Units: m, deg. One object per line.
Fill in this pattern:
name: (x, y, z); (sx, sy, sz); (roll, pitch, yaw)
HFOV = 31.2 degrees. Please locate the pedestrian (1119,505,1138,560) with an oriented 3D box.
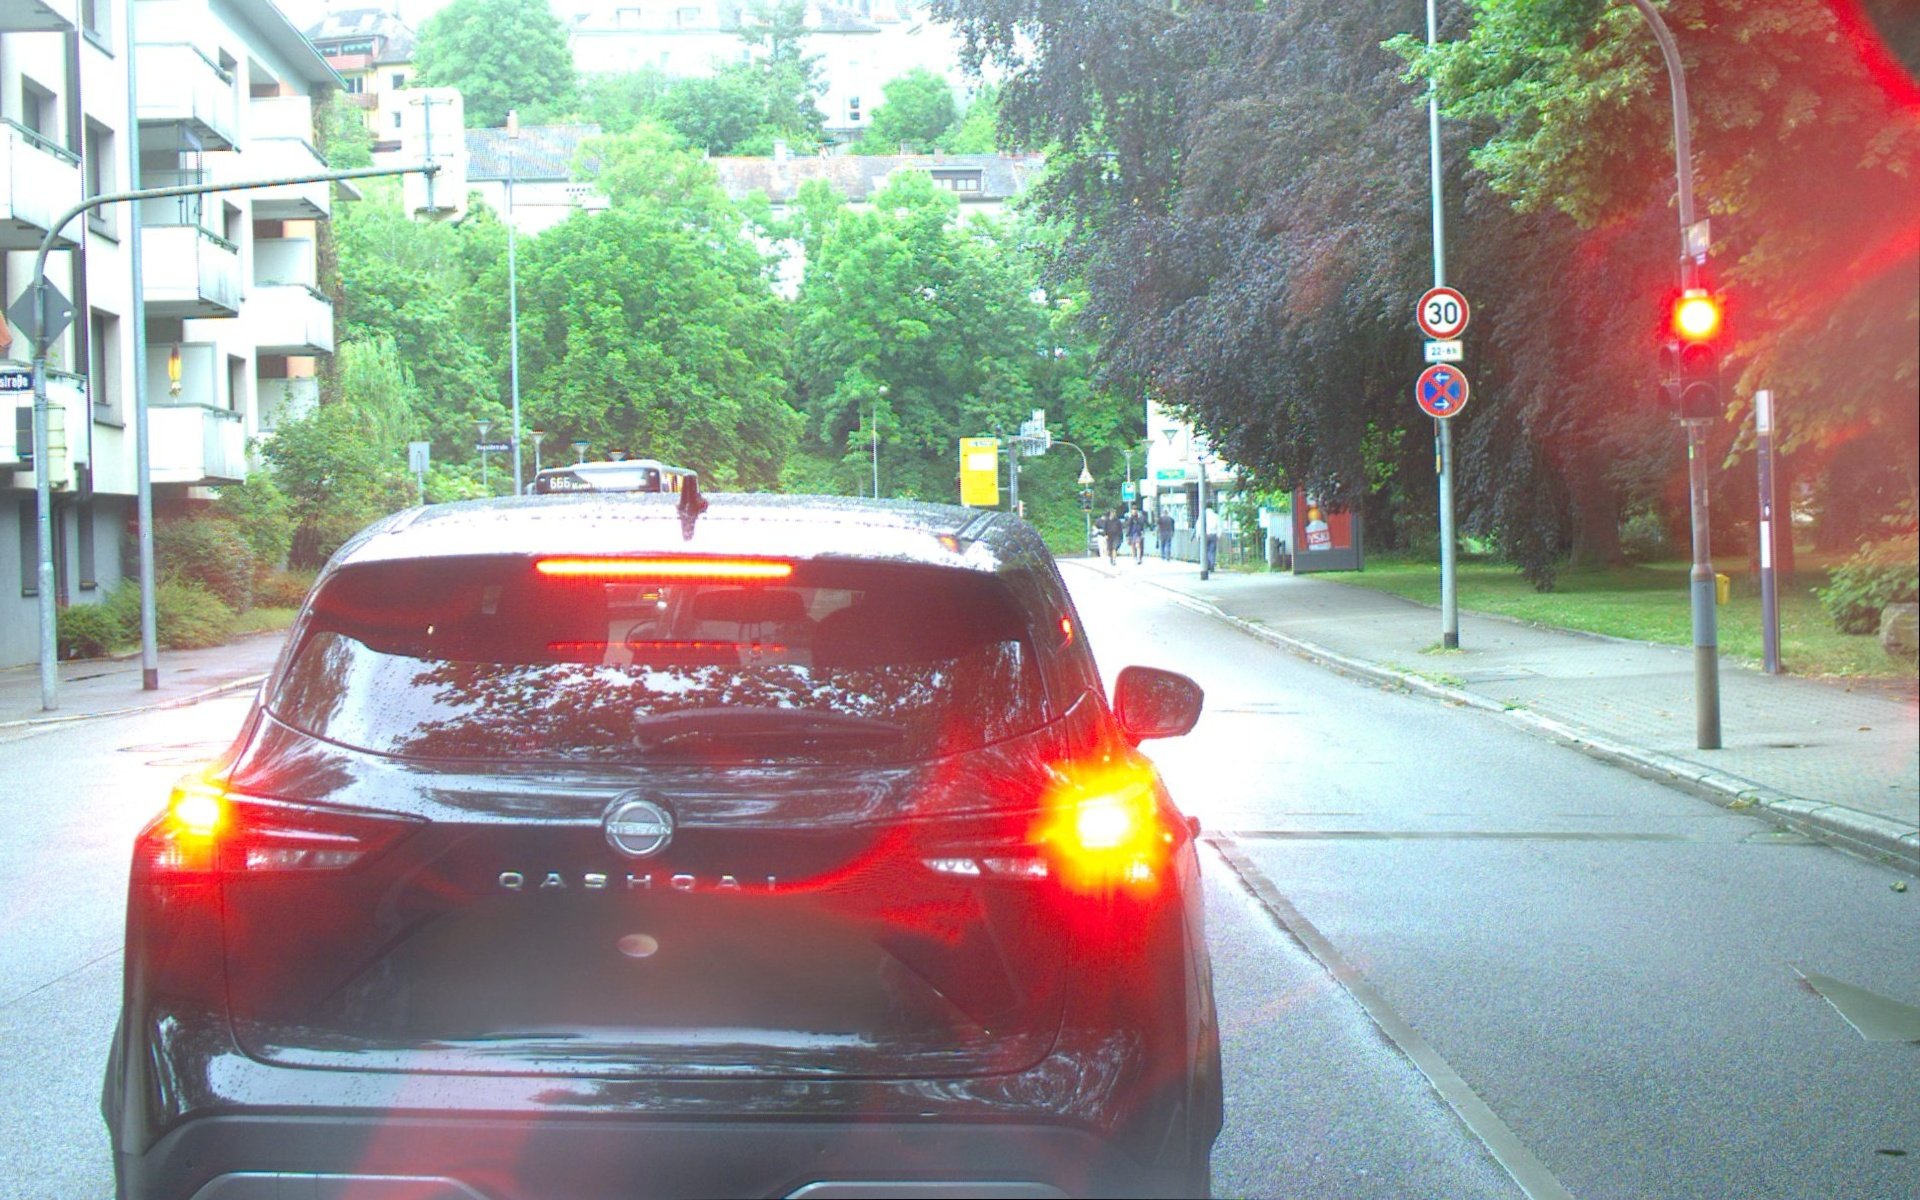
pedestrian: (5.078, -2.022, 103.341); (0.514, 1.650, 0.550); (1, 0, -1)

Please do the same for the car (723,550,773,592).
car: (-8.022, -1.118, 130.221); (1.676, 1.464, 4.217); (-3, 1, -2)

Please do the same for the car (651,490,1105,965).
car: (-0.272, 0.436, 14.656); (1.622, 1.703, 3.771); (-2, 1, 1)

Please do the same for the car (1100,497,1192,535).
car: (8.870, -4.000, 163.884); (3.986, 1.678, 2.001); (-2, 1, -10)

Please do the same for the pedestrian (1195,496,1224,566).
pedestrian: (6.442, -1.784, 88.669); (0.618, 1.773, 0.778); (-2, 1, -1)

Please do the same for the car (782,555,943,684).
car: (-1.165, 0.192, 40.981); (1.808, 1.412, 4.031); (0, 1, -2)

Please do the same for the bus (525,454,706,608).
bus: (-7.245, -1.454, 73.900); (2.766, 2.964, 11.782); (-2, 1, -1)

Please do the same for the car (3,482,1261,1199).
car: (-0.501, 0.613, 6.979); (1.806, 1.584, 4.000); (1, 1, -1)

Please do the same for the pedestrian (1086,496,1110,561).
pedestrian: (4.642, -2.394, 115.329); (0.768, 2.176, 0.711); (1, 0, 3)

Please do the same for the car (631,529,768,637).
car: (-3.661, -0.268, 48.797); (1.624, 1.410, 3.455); (-2, 1, 0)

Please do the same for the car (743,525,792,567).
car: (-7.810, -2.199, 139.841); (1.750, 1.628, 3.635); (-2, 1, 0)

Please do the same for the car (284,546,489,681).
car: (-6.769, 0.121, 40.922); (1.808, 1.412, 4.031); (-3, 1, -2)

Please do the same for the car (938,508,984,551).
car: (0.023, -2.801, 136.397); (1.750, 1.628, 3.635); (-2, 1, 0)

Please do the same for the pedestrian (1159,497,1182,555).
pedestrian: (6.556, -2.314, 107.115); (0.618, 1.773, 0.551); (-2, 1, -1)

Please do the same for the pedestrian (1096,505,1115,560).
pedestrian: (4.412, -2.041, 104.468); (0.544, 1.645, 0.490); (1, 0, 0)

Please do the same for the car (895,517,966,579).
car: (-0.697, -1.262, 83.188); (1.624, 1.410, 3.455); (-2, 1, 0)
